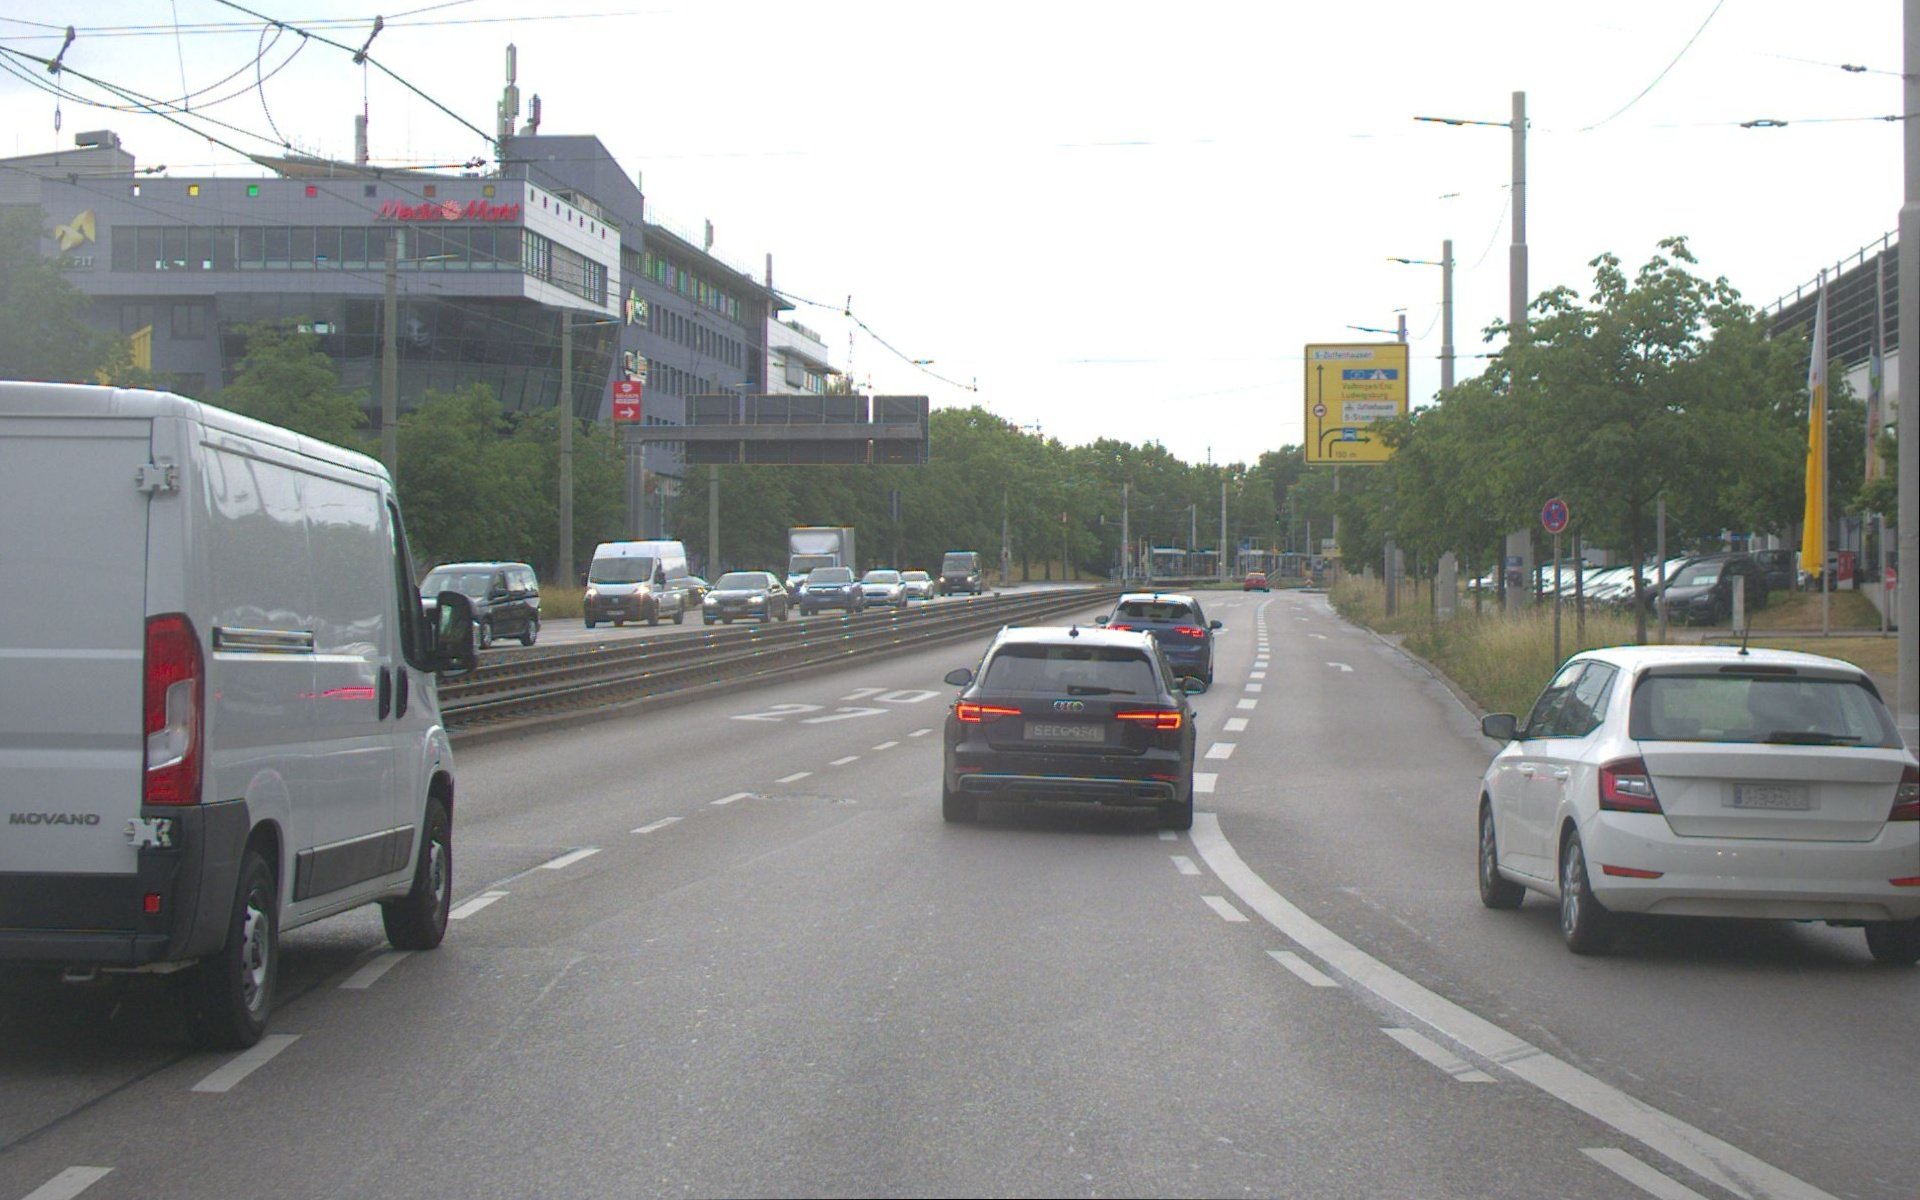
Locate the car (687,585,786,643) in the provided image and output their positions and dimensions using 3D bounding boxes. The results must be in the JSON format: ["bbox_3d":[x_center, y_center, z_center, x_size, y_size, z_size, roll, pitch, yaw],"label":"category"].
[{"bbox_3d":[-6.375,0.389,98.665,1.801,1.615,4.953,0,0,9],"label":"car"}]

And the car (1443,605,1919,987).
[{"bbox_3d":[3.685,0.877,17.287,1.829,1.650,4.000,1,0,-1],"label":"car"}]

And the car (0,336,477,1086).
[{"bbox_3d":[-3.445,0.327,12.972,2.445,2.286,4.904,0,0,1],"label":"car"}]

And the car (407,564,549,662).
[{"bbox_3d":[-10.028,0.251,71.847,2.159,1.879,4.301,3,1,2],"label":"car"}]

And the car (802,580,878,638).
[{"bbox_3d":[-4.108,0.283,118.720,2.159,1.879,4.301,3,1,3],"label":"car"}]

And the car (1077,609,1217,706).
[{"bbox_3d":[3.030,0.897,54.966,1.894,1.460,3.908,1,0,8],"label":"car"}]

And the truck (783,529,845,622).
[{"bbox_3d":[-5.977,-1.012,141.393,2.158,3.633,6.874,3,1,-1],"label":"truck"}]

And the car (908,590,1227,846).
[{"bbox_3d":[0.708,0.802,25.497,1.993,1.631,4.000,2,1,-3],"label":"car"}]

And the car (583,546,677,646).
[{"bbox_3d":[-9.521,-0.140,99.560,2.158,2.713,5.068,3,1,-1],"label":"car"}]
